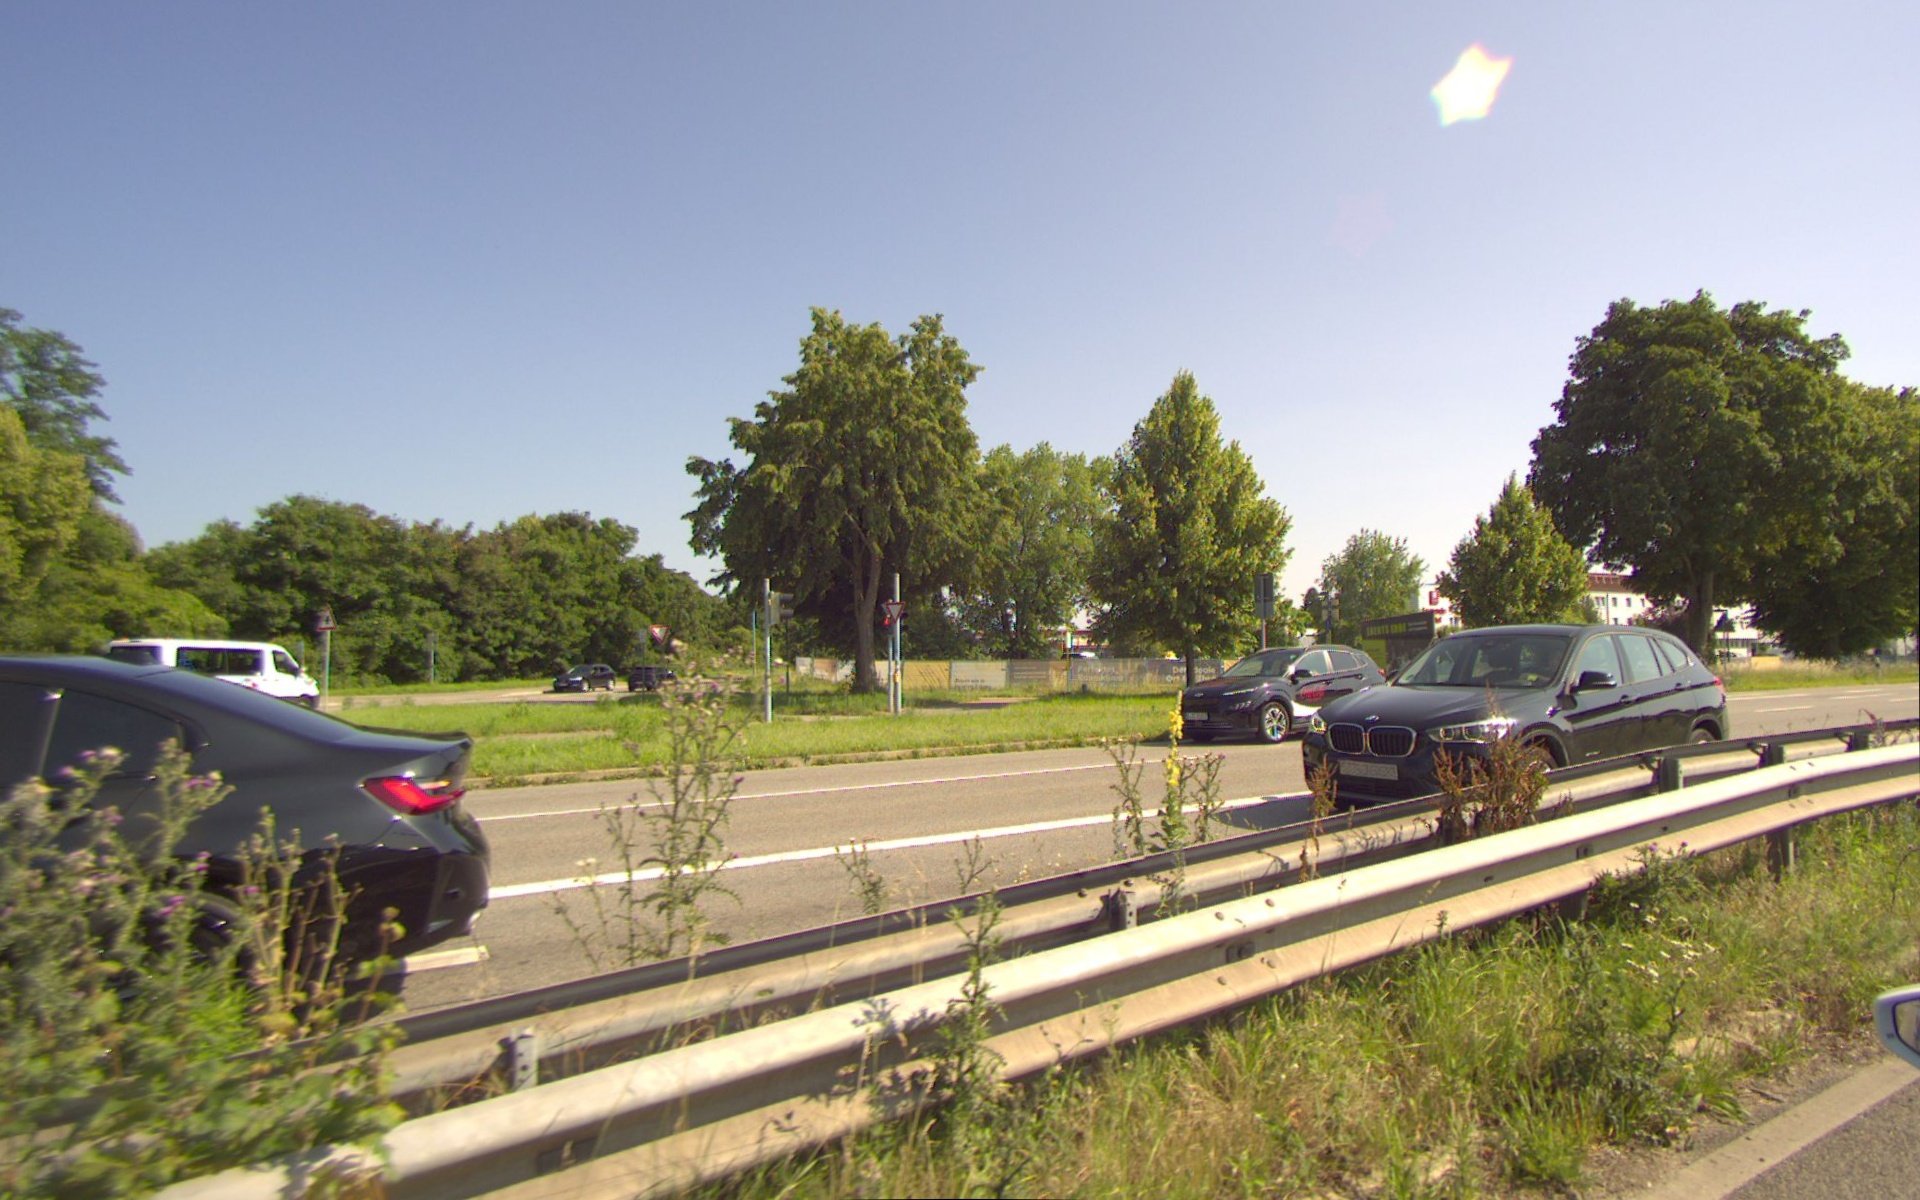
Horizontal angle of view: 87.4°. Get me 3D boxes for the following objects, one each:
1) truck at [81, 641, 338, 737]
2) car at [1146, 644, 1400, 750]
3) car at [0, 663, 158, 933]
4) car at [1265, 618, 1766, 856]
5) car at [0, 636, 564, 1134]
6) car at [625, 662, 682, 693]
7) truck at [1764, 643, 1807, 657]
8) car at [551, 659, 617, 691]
[{"bbox_3d":[-21.105,2.428,28.758,2.333,2.420,6.046,-1,-3,7],"label":"truck"},{"bbox_3d":[5.358,1.607,17.102,4.039,1.574,1.839,1,-6,-30],"label":"car"},{"bbox_3d":[-7.244,1.128,5.446,4.215,1.456,1.922,1,-4,-29],"label":"car"},{"bbox_3d":[4.982,1.010,8.836,4.564,1.615,1.838,1,-3,-31],"label":"car"},{"bbox_3d":[-4.065,0.919,3.478,4.834,1.504,1.809,1,-4,-30],"label":"car"},{"bbox_3d":[-18.125,4.564,59.550,1.875,1.670,4.003,0,-2,5],"label":"car"},{"bbox_3d":[121.444,7.371,147.852,2.028,2.040,4.481,1,-2,-30],"label":"truck"},{"bbox_3d":[-22.464,4.440,60.129,1.741,1.773,4.102,0,-2,12],"label":"car"}]
